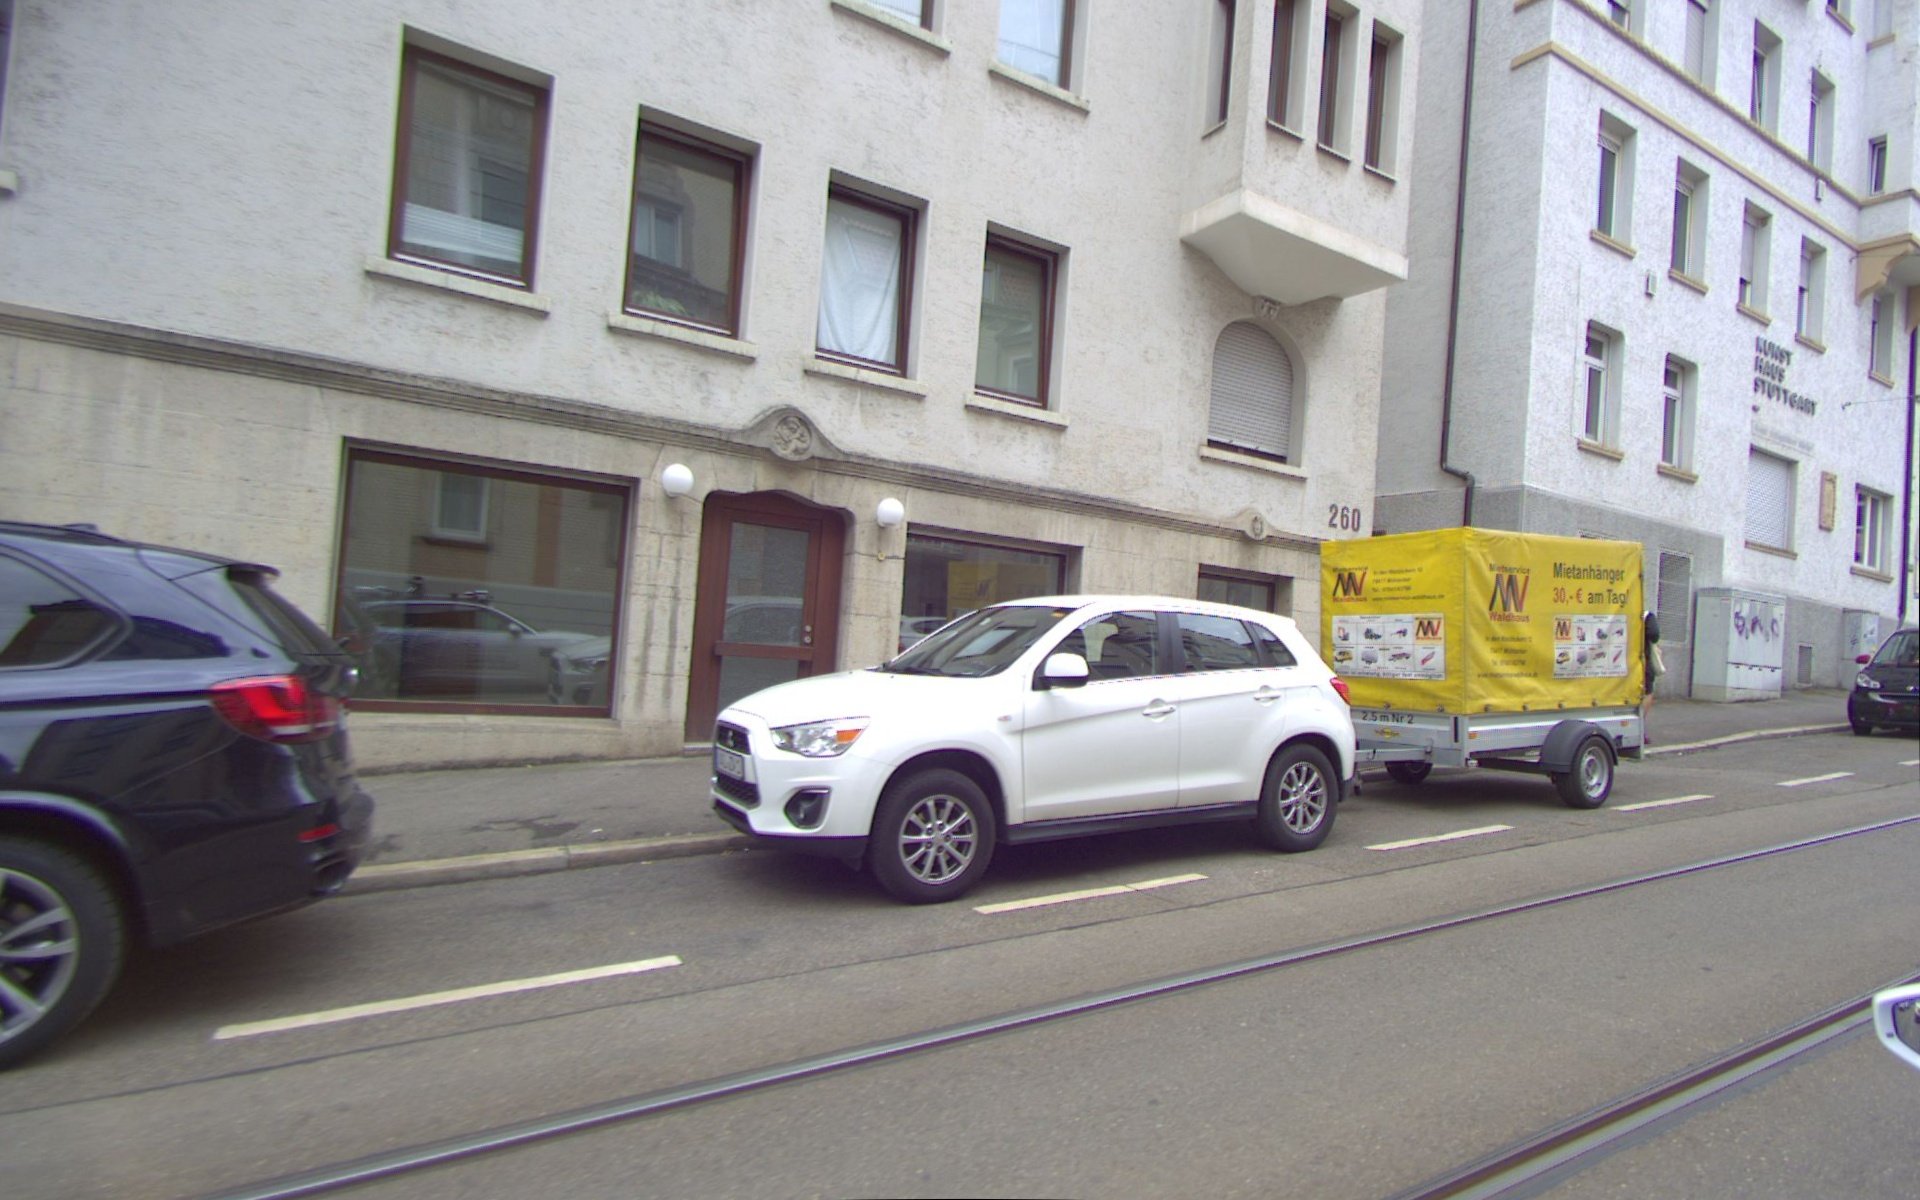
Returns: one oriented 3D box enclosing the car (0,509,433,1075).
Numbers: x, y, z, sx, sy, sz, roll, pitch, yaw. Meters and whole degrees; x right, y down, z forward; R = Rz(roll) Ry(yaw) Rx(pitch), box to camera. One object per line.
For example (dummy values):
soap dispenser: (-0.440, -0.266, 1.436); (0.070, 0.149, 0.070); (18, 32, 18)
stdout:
car: (-4.428, 0.578, 3.180); (4.833, 1.686, 1.865); (1, -2, -30)

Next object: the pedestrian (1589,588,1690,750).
pedestrian: (8.553, 0.853, 12.650); (0.802, 1.932, 0.586); (2, 5, -30)

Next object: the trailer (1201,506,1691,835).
trailer: (4.138, 0.528, 8.449); (4.022, 2.184, 1.741); (1, -2, -30)

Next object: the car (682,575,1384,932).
car: (0.566, 0.757, 6.348); (4.217, 1.614, 1.689); (1, -2, -30)

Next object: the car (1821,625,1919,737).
car: (13.929, 1.119, 14.261); (2.987, 1.488, 1.689); (2, -3, -30)
